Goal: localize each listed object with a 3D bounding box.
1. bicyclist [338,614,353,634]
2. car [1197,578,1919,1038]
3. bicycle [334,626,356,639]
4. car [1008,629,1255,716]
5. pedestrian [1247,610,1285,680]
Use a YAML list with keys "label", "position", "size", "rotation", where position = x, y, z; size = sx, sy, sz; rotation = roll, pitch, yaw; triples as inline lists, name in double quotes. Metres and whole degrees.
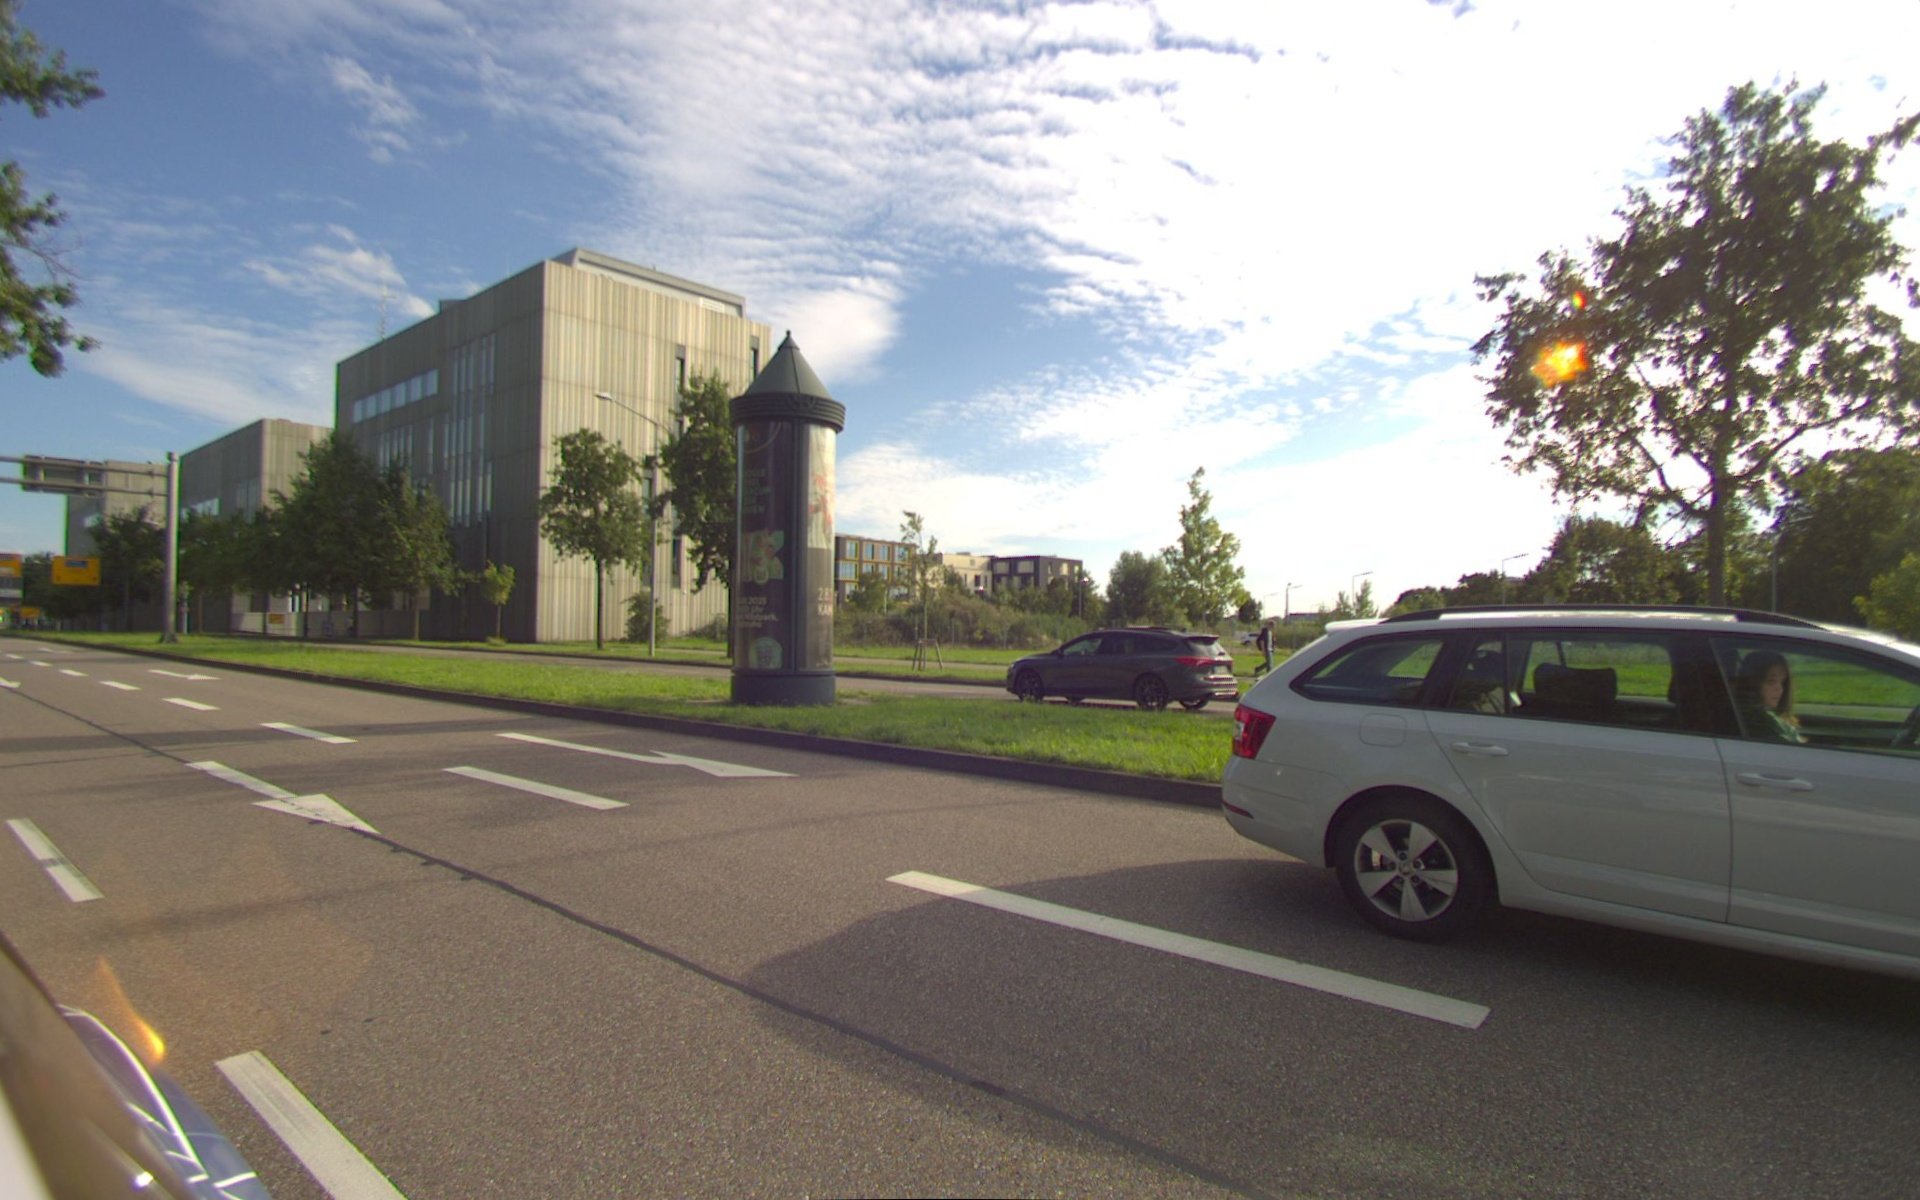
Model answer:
- label: "bicyclist"
  position: [-47.007, 1.827, 77.398]
  size: [0.989, 1.537, 0.698]
  rotation: [-1, -3, 41]
- label: "car"
  position: [3.414, 0.693, 4.218]
  size: [4.479, 1.510, 1.681]
  rotation: [-1, -1, 41]
- label: "bicycle"
  position: [-46.994, 2.492, 77.353]
  size: [1.910, 0.989, 0.885]
  rotation: [-1, -3, 41]
- label: "car"
  position: [3.137, 1.315, 18.993]
  size: [4.205, 1.420, 1.881]
  rotation: [-1, -4, 41]
- label: "pedestrian"
  position: [8.985, 1.318, 29.719]
  size: [0.867, 2.029, 0.667]
  rotation: [-1, -3, 41]
